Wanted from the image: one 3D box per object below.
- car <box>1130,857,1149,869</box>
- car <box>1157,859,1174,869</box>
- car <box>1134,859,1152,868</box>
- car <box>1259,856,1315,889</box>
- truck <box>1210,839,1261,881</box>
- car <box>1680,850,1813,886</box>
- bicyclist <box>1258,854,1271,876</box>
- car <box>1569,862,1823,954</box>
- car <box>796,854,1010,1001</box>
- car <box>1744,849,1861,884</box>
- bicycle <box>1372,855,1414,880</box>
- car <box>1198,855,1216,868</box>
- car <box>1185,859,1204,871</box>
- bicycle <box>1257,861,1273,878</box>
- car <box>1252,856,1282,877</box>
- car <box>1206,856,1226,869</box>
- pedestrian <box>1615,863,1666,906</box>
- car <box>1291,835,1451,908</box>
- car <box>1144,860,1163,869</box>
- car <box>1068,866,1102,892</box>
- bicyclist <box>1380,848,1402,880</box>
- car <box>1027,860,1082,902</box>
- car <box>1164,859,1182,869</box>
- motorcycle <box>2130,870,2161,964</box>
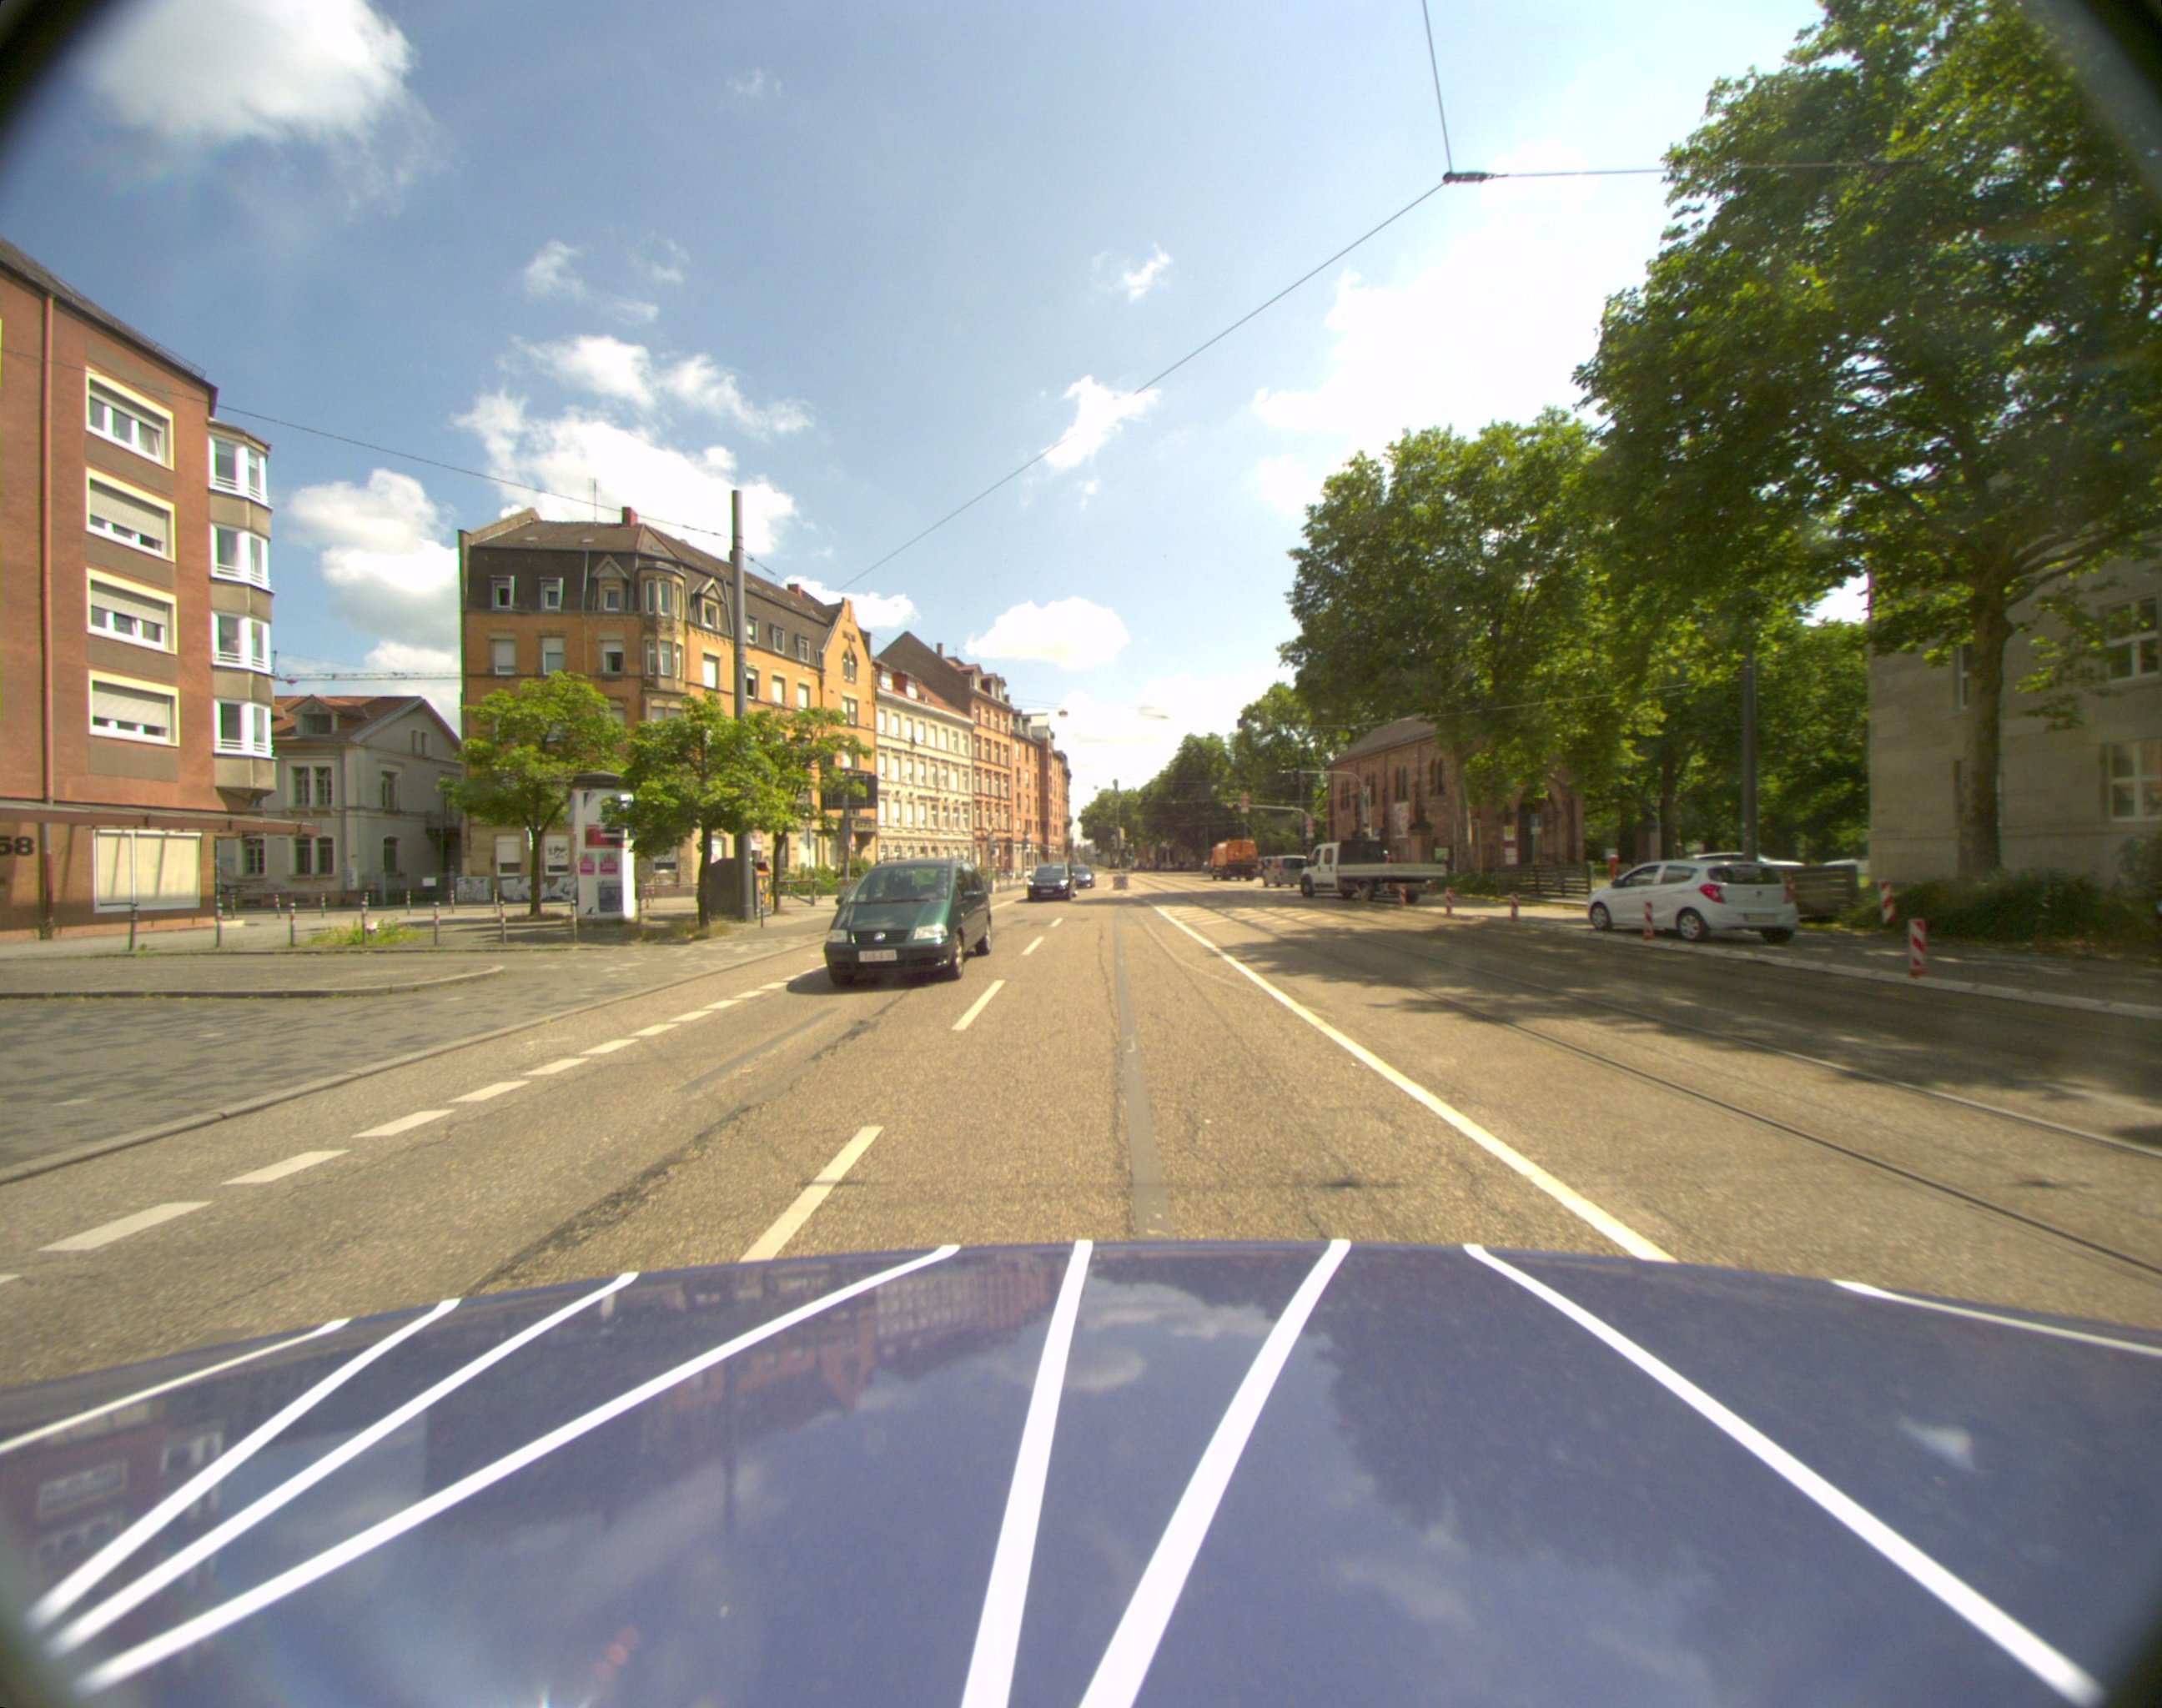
[{"bbox_3d":[11.162,1.721,144.773,1.765,2.172,3.991,-3,0,-28],"label":"car"},{"bbox_3d":[13.666,1.636,123.172,1.762,1.488,3.997,-3,0,-9],"label":"car"},{"bbox_3d":[11.055,1.764,135.029,1.764,1.488,3.994,-3,0,-18],"label":"car"},{"bbox_3d":[11.599,0.994,43.150,1.925,1.735,4.537,1,0,0],"label":"car"},{"bbox_3d":[12.028,0.405,59.762,2.645,3.088,7.222,0,0,1],"label":"truck"},{"bbox_3d":[31.440,0.635,36.042,1.764,1.599,4.400,-1,0,-30],"label":"car"},{"bbox_3d":[14.665,0.870,60.724,0.703,1.676,1.176,-1,0,0],"label":"bicyclist"},{"bbox_3d":[11.517,0.938,14.607,1.764,1.471,3.788,2,-1,0],"label":"car"},{"bbox_3d":[-2.484,0.933,12.093,1.822,1.746,5.032,-2,1,4],"label":"car"},{"bbox_3d":[36.379,0.609,38.428,1.764,1.683,3.990,-1,0,-33],"label":"car"},{"bbox_3d":[17.823,0.748,43.454,2.088,1.282,0.671,-4,0,-7],"label":"bicycle"},{"bbox_3d":[16.696,0.970,100.601,1.761,1.488,4.000,-2,0,1],"label":"car"},{"bbox_3d":[16.087,1.529,108.010,1.762,1.488,3.998,-2,0,-6],"label":"car"},{"bbox_3d":[14.674,1.225,60.764,0.706,1.282,2.218,-1,0,0],"label":"bicycle"},{"bbox_3d":[17.044,1.134,69.846,1.761,1.825,4.000,-2,0,1],"label":"car"},{"bbox_3d":[16.726,1.040,94.472,1.761,1.488,4.000,-2,0,1],"label":"car"},{"bbox_3d":[16.954,0.911,23.039,0.757,1.205,0.913,-6,0,3],"label":"pedestrian"},{"bbox_3d":[10.657,0.630,28.762,2.263,2.359,6.974,2,-1,-11],"label":"car"},{"bbox_3d":[12.386,1.753,130.195,1.763,1.488,3.995,-3,0,-16],"label":"car"},{"bbox_3d":[0.284,1.539,47.582,1.914,1.386,4.313,-2,0,3],"label":"car"},{"bbox_3d":[17.724,0.557,43.435,0.885,1.774,0.662,-4,1,-7],"label":"bicyclist"},{"bbox_3d":[-1.088,1.115,33.123,1.875,1.610,4.190,-2,0,5],"label":"car"},{"bbox_3d":[14.418,1.576,118.855,1.762,1.488,3.997,-3,0,-8],"label":"car"},{"bbox_3d":[16.442,0.916,11.481,2.110,1.168,0.543,-5,-2,-37],"label":"motorcycle"}]
